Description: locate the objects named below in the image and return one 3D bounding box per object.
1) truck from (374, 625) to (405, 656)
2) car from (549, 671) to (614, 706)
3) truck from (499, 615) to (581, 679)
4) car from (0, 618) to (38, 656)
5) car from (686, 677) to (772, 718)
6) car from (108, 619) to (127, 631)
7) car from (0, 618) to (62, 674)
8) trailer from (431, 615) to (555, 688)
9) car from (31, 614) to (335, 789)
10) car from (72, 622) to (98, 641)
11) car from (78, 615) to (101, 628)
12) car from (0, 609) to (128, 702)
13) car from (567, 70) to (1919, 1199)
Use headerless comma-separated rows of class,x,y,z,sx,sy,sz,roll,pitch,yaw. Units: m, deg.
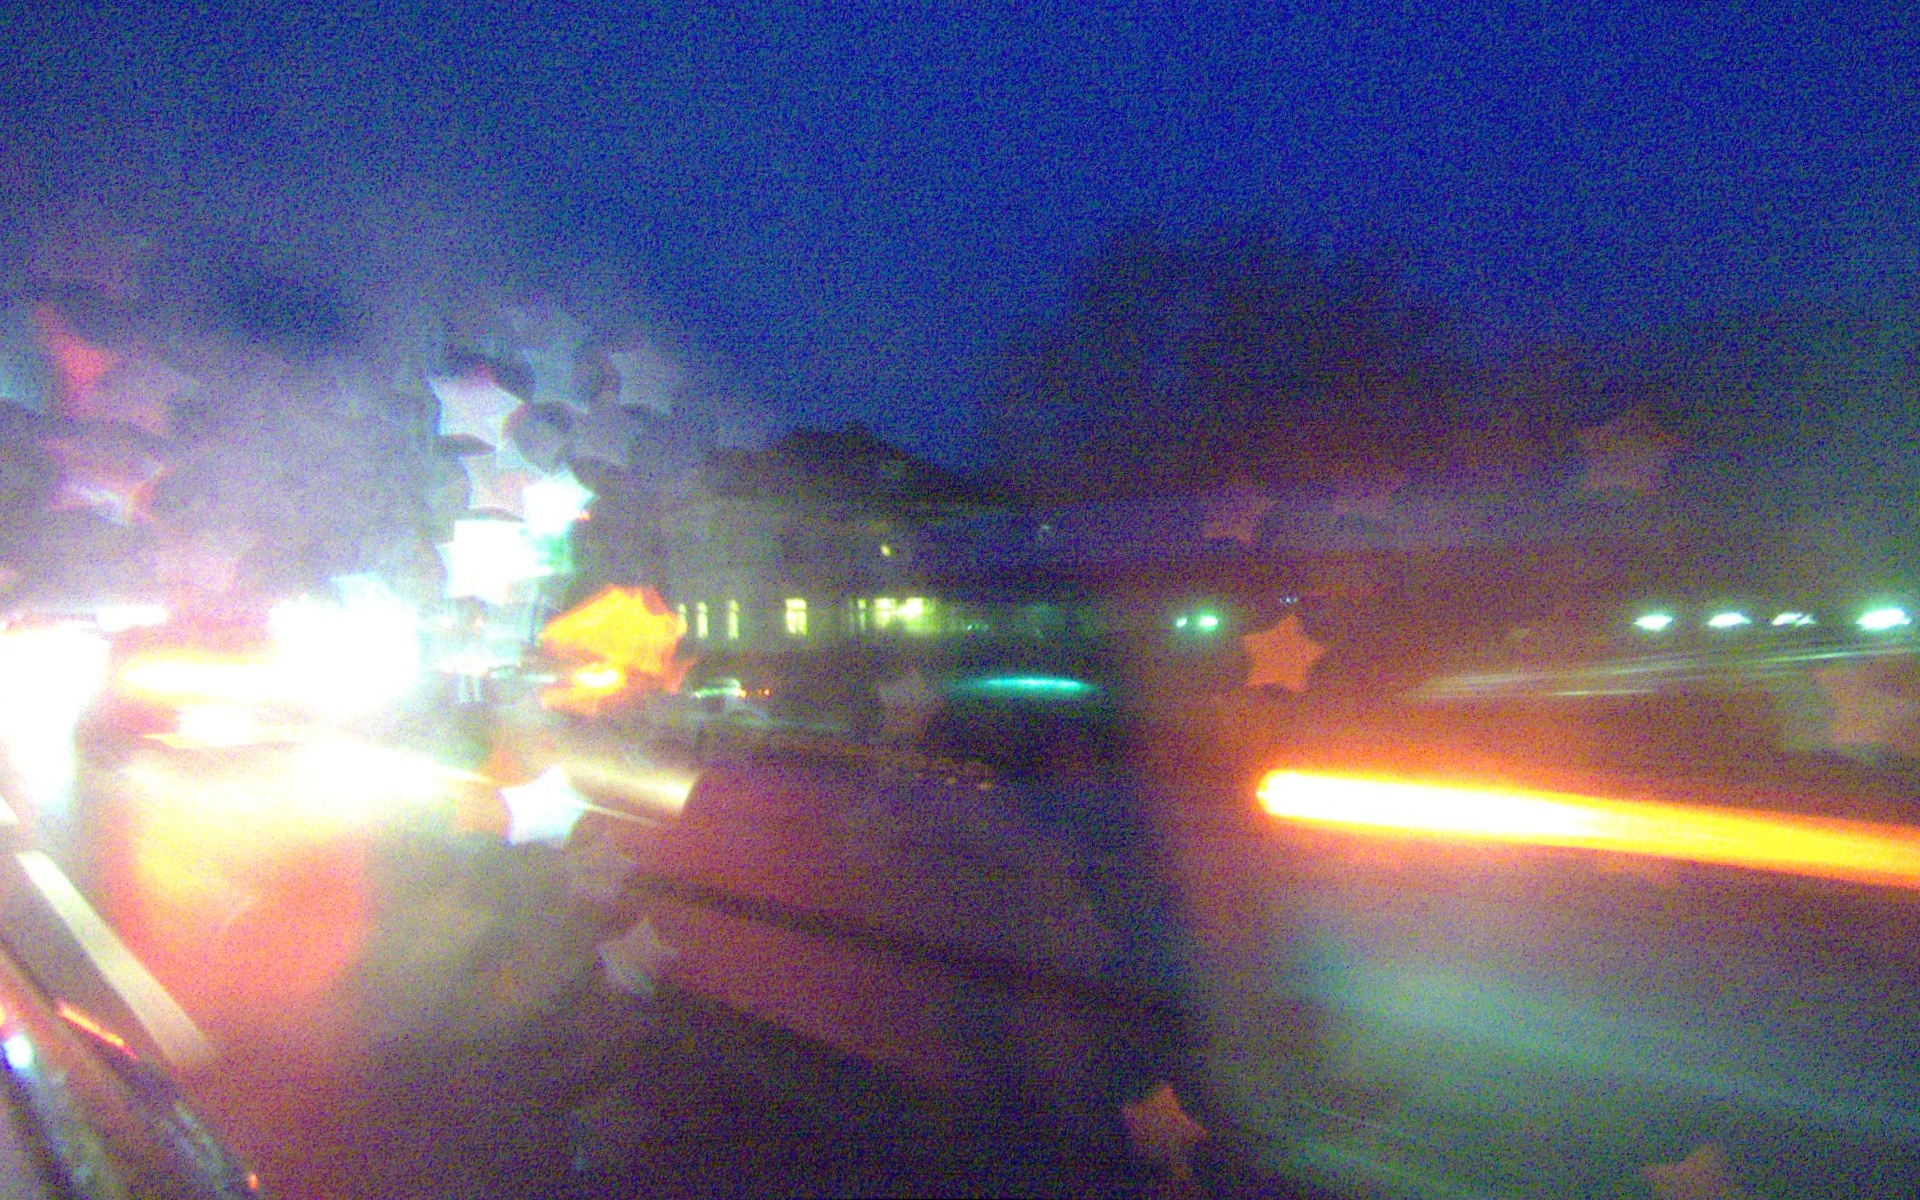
truck,-68.407,4.764,121.234,2.718,3.509,8.127,0,-1,-33
car,-21.908,5.080,58.496,4.293,1.688,1.788,-1,-1,43
truck,-33.729,3.649,81.569,3.294,4.832,7.311,0,0,3
car,-43.758,1.665,46.520,4.378,1.635,1.768,-1,-1,45
car,-10.812,4.500,47.171,4.292,1.582,1.788,-1,-1,43
car,-116.443,3.464,139.829,1.614,1.531,3.780,2,-2,-34
car,-28.273,1.332,30.246,4.179,1.571,1.797,-1,-1,44
trailer,-34.162,3.608,74.726,3.294,4.832,11.543,0,0,3
car,-8.625,0.930,11.080,4.533,1.532,1.780,-1,-2,41
car,-81.777,2.948,94.552,1.786,1.688,4.298,0,-1,-42
car,-97.044,2.386,112.875,1.763,1.490,3.687,0,-1,-39
car,-18.003,1.036,20.204,3.467,1.693,1.669,-1,-1,42
car,0.701,0.381,3.096,3.999,2.090,1.972,-1,-1,42
